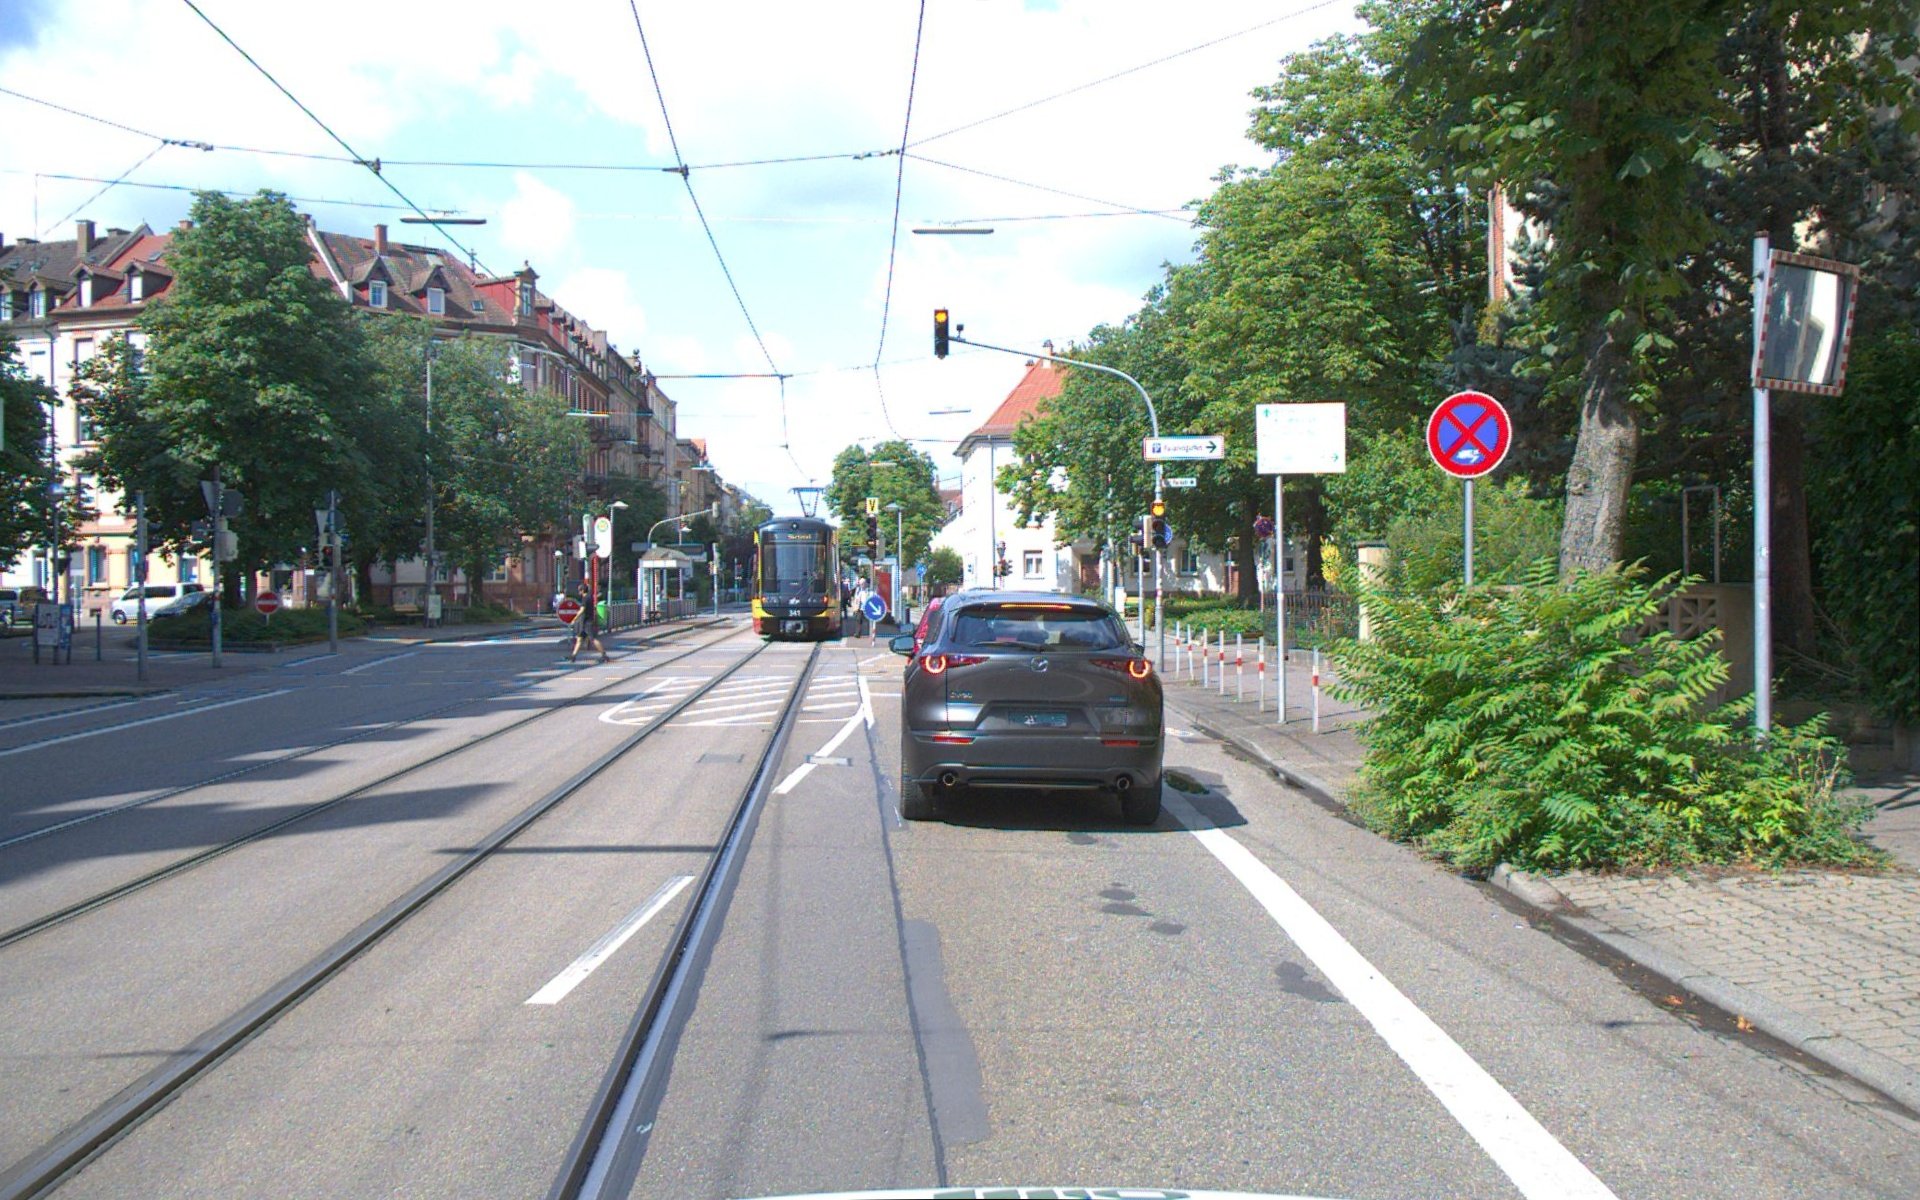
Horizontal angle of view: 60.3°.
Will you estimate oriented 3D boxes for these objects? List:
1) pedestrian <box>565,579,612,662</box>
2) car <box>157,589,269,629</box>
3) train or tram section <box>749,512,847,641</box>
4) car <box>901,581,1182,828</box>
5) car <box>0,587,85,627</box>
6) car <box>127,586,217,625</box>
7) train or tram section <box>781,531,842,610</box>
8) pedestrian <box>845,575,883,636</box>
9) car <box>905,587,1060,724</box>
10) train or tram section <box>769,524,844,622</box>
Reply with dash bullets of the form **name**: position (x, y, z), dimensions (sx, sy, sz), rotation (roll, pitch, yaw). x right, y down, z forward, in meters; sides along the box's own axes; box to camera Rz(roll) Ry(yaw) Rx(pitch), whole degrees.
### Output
- **pedestrian**: position (-7.774, 0.416, 34.650), dimensions (0.735, 1.713, 0.701), rotation (-1, 0, 9)
- **car**: position (-30.633, 0.359, 67.927), dimensions (3.994, 1.545, 1.752), rotation (-1, 0, -19)
- **train or tram section**: position (-5.048, -0.835, 53.171), dimensions (2.698, 3.551, 14.396), rotation (-1, 1, -4)
- **car**: position (0.484, 0.636, 12.360), dimensions (1.742, 1.526, 3.999), rotation (-1, 0, -1)
- **car**: position (-39.321, 0.301, 69.566), dimensions (3.905, 1.624, 2.000), rotation (-1, 0, 0)
- **car**: position (-39.362, 0.265, 82.641), dimensions (3.907, 1.937, 1.999), rotation (0, 0, 24)
- **train or tram section**: position (-7.245, -1.496, 81.881), dimensions (2.698, 3.551, 14.396), rotation (-1, 1, -4)
- **pedestrian**: position (-2.744, 0.146, 47.173), dimensions (0.806, 1.735, 0.717), rotation (0, 0, 32)
- **car**: position (0.234, 0.619, 20.962), dimensions (1.742, 1.526, 3.999), rotation (2, 0, -1)
- **train or tram section**: position (-6.139, -1.167, 67.534), dimensions (2.698, 3.551, 14.396), rotation (-1, 1, -4)
